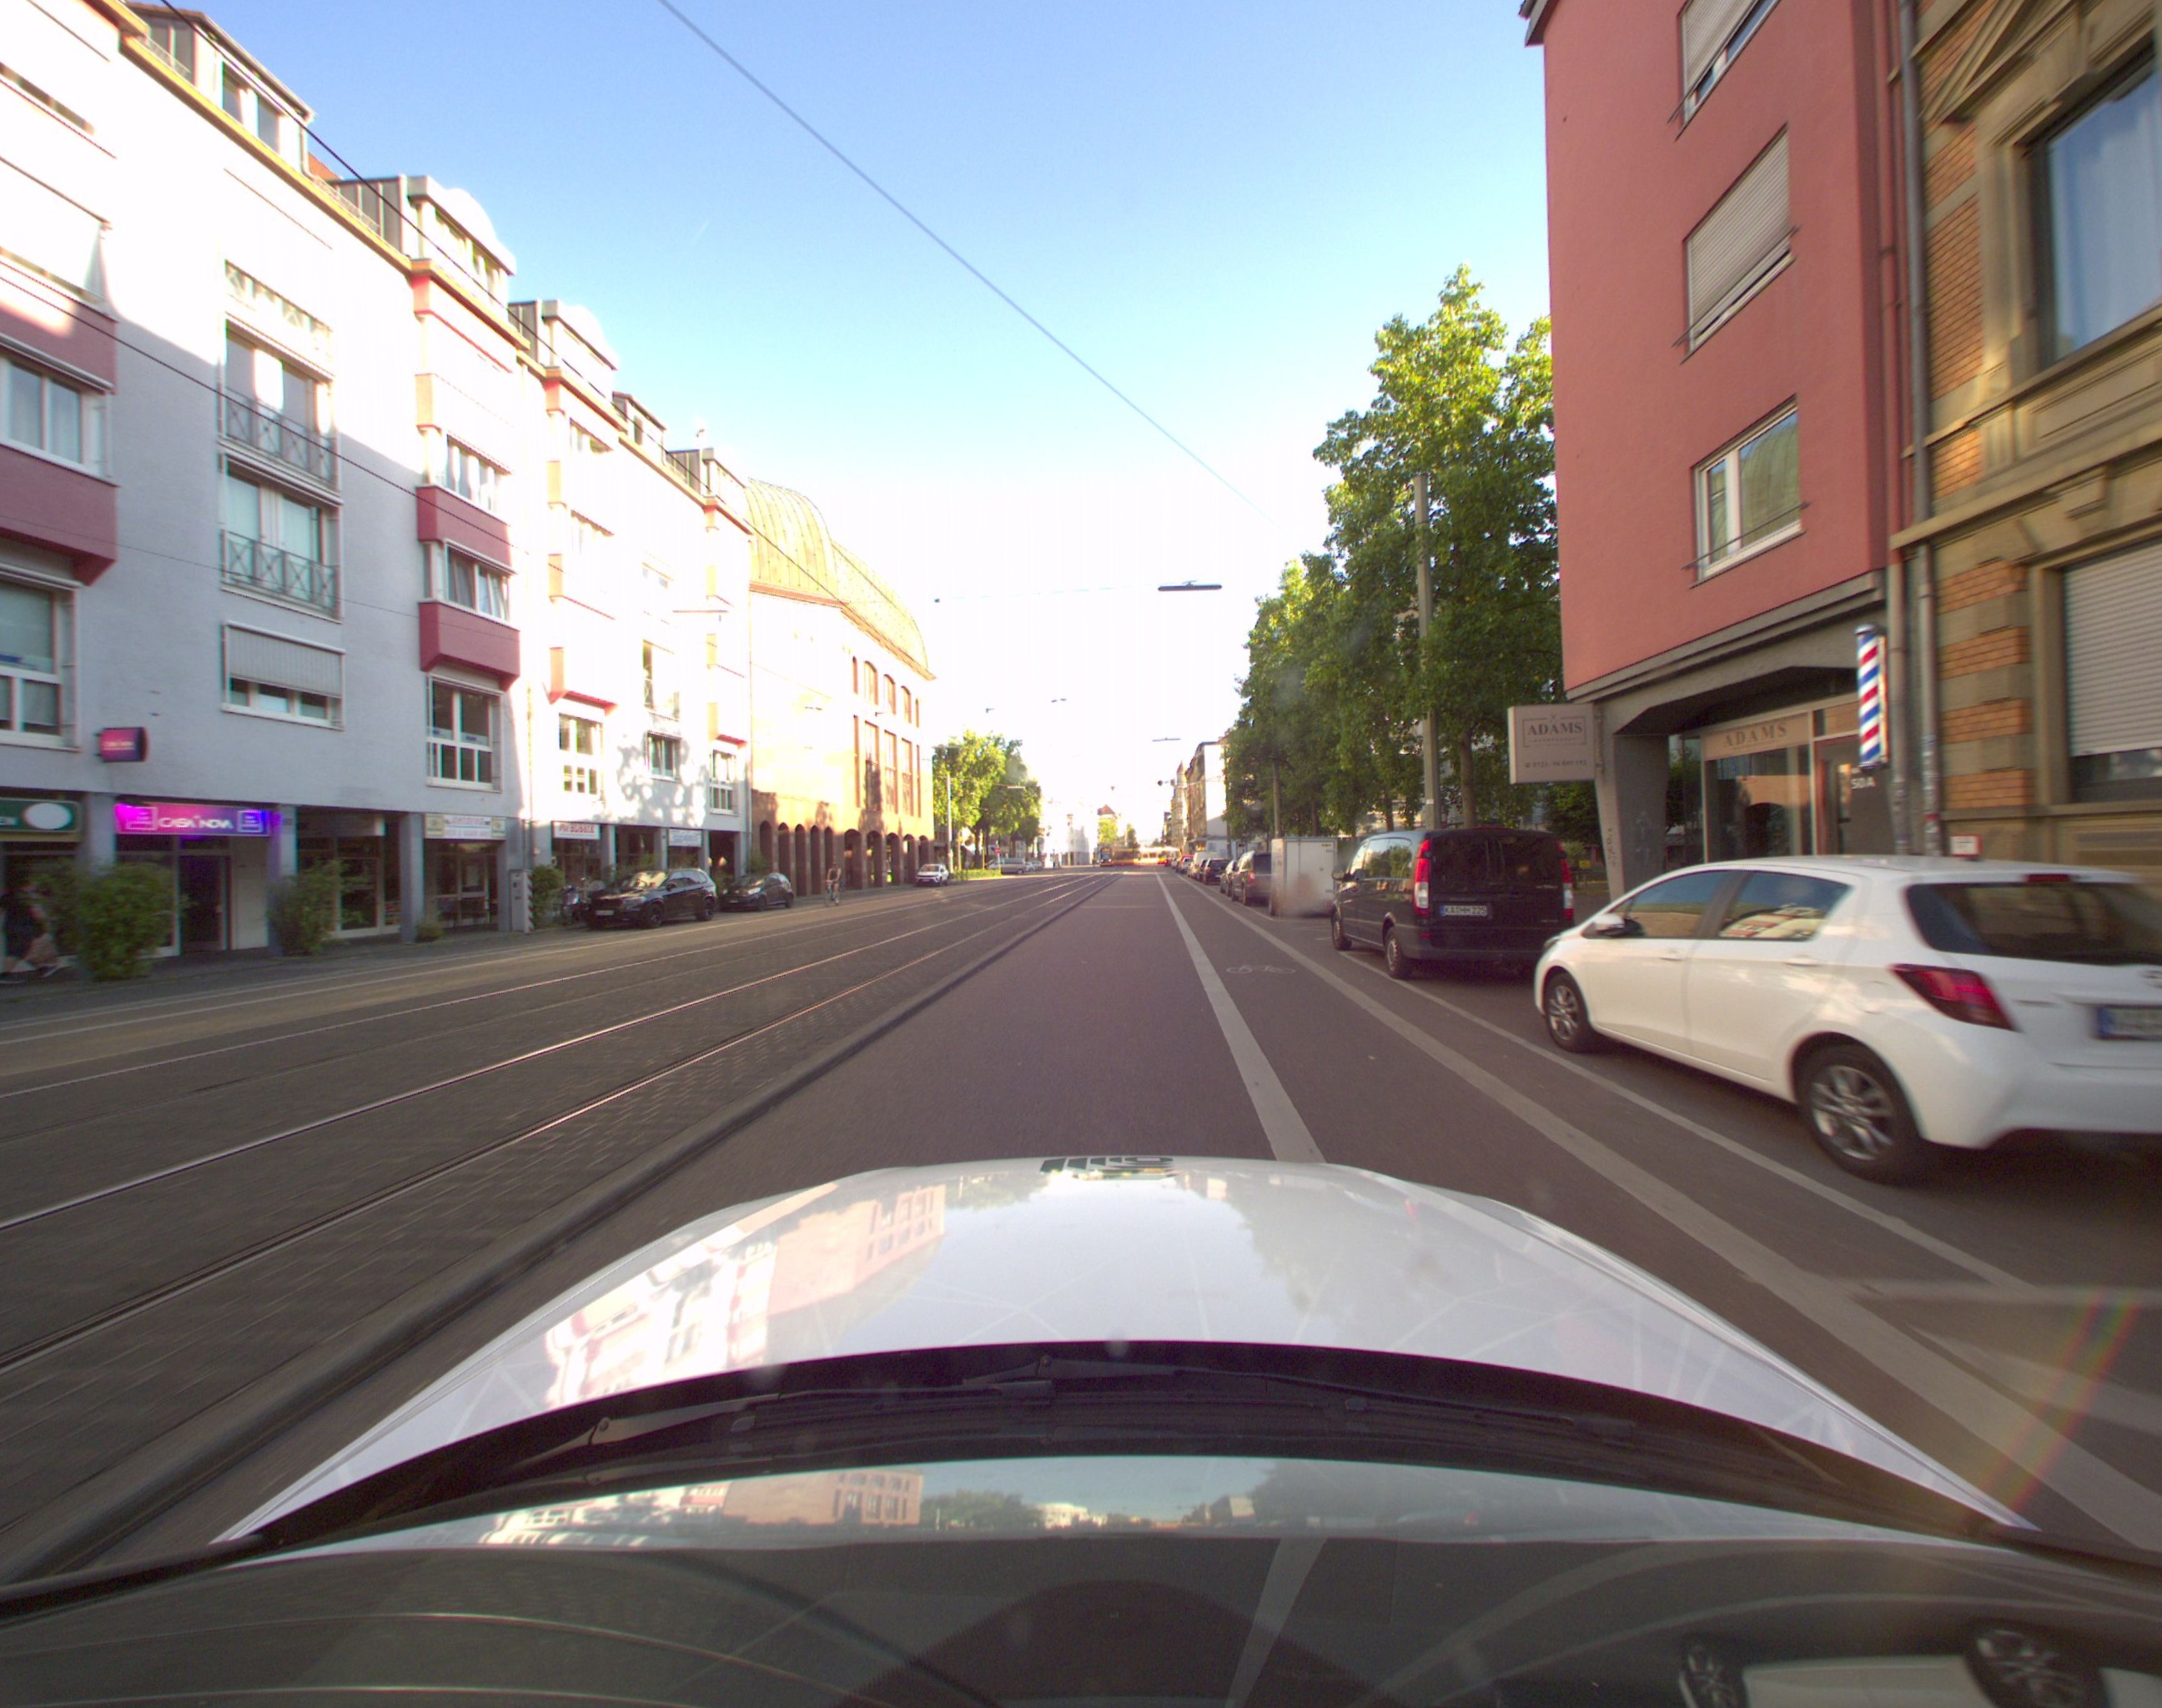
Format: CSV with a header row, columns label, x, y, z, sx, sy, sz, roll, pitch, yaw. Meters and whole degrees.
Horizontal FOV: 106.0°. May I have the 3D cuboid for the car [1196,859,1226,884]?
label,x,y,z,sx,sy,sz,roll,pitch,yaw
car,8.163,1.084,51.484,1.613,1.474,3.976,0,0,5

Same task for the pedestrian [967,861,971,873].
label,x,y,z,sx,sy,sz,roll,pitch,yaw
pedestrian,-12.936,1.519,93.716,0.363,1.343,0.480,2,-1,-15

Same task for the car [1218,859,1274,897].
label,x,y,z,sx,sy,sz,roll,pitch,yaw
car,6.804,0.949,33.968,1.708,1.427,4.681,0,1,4

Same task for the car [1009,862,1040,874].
label,x,y,z,sx,sy,sz,roll,pitch,yaw
car,-8.063,2.006,116.072,3.889,1.627,1.859,1,-1,-26

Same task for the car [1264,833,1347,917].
label,x,y,z,sx,sy,sz,roll,pitch,yaw
car,6.056,0.556,22.323,1.696,2.120,3.714,0,-1,8

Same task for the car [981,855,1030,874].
label,x,y,z,sx,sy,sz,roll,pitch,yaw
car,-9.002,1.257,96.797,5.281,2.043,2.397,2,-2,-28

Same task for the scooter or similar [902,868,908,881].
label,x,y,z,sx,sy,sz,roll,pitch,yaw
scooter or similar,-12.994,1.519,60.162,0.363,0.938,0.968,2,-1,-15

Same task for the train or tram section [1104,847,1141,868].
label,x,y,z,sx,sy,sz,roll,pitch,yaw
train or tram section,8.135,0.703,156.804,2.668,3.878,12.913,1,0,23

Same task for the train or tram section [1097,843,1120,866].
label,x,y,z,sx,sy,sz,roll,pitch,yaw
train or tram section,5.074,0.128,145.357,2.677,3.960,12.117,2,0,8

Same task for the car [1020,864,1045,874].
label,x,y,z,sx,sy,sz,roll,pitch,yaw
car,-7.458,2.391,126.439,3.539,1.481,1.568,1,-1,-28

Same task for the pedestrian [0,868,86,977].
label,x,y,z,sx,sy,sz,roll,pitch,yaw
pedestrian,-16.996,1.094,13.275,0.611,1.712,0.746,-1,0,3

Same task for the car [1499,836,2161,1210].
label,x,y,z,sx,sy,sz,roll,pitch,yaw
car,4.496,0.697,5.262,1.723,1.496,3.964,1,0,3

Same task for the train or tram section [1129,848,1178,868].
label,x,y,z,sx,sy,sz,roll,pitch,yaw
train or tram section,14.814,0.850,166.037,11.345,3.752,2.669,2,-1,-41

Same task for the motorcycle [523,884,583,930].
label,x,y,z,sx,sy,sz,roll,pitch,yaw
motorcycle,-14.874,1.464,23.019,0.670,1.205,2.132,1,-1,-12

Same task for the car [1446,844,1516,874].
label,x,y,z,sx,sy,sz,roll,pitch,yaw
car,22.010,0.240,45.018,1.857,1.494,4.441,-2,0,3

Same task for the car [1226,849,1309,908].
label,x,y,z,sx,sy,sz,roll,pitch,yaw
car,6.170,0.768,27.561,1.941,1.788,5.186,1,-1,4

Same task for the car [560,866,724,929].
label,x,y,z,sx,sy,sz,roll,pitch,yaw
car,-13.115,1.242,24.760,2.081,1.713,4.823,1,-1,4

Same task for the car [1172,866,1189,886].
label,x,y,z,sx,sy,sz,roll,pitch,yaw
car,10.513,2.273,86.489,1.613,2.006,3.835,1,0,4

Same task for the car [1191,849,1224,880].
label,x,y,z,sx,sy,sz,roll,pitch,yaw
car,8.854,0.730,57.336,1.961,2.014,4.565,-2,-1,6

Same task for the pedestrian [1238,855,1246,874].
label,x,y,z,sx,sy,sz,roll,pitch,yaw
pedestrian,15.242,0.995,77.320,0.658,1.722,0.836,-1,-1,5

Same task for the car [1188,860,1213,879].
label,x,y,z,sx,sy,sz,roll,pitch,yaw
car,9.298,1.199,63.580,1.613,1.370,3.935,1,0,4

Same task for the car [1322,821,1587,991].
label,x,y,z,sx,sy,sz,roll,pitch,yaw
car,4.900,0.590,11.603,1.945,1.869,4.997,1,0,6

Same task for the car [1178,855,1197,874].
label,x,y,z,sx,sy,sz,roll,pitch,yaw
car,10.741,1.063,82.103,1.613,1.813,4.088,1,0,4

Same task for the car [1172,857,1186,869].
label,x,y,z,sx,sy,sz,roll,pitch,yaw
car,13.065,1.210,108.962,1.613,1.555,4.088,1,0,4

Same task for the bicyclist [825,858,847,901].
label,x,y,z,sx,sy,sz,roll,pitch,yaw
bicyclist,-10.025,1.020,33.377,0.569,1.712,0.746,-3,-1,4

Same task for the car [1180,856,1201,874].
label,x,y,z,sx,sy,sz,roll,pitch,yaw
car,10.205,1.044,76.028,1.715,1.568,4.088,-2,-1,4

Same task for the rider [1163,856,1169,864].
label,x,y,z,sx,sy,sz,roll,pitch,yaw
rider,14.899,1.030,142.806,0.875,1.481,0.717,1,-1,34

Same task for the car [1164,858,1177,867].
label,x,y,z,sx,sy,sz,roll,pitch,yaw
car,14.833,1.430,135.498,2.056,1.389,4.230,2,0,5

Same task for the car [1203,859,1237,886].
label,x,y,z,sx,sy,sz,roll,pitch,yaw
car,7.810,1.009,46.105,1.613,1.431,3.990,0,0,5

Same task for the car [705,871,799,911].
label,x,y,z,sx,sy,sz,roll,pitch,yaw
car,-12.813,1.396,32.000,1.859,1.450,3.591,0,-1,7

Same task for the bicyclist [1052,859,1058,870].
label,x,y,z,sx,sy,sz,roll,pitch,yaw
bicyclist,-4.705,1.835,146.540,0.702,2.014,0.717,2,-1,-30

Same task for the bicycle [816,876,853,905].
label,x,y,z,sx,sy,sz,roll,pitch,yaw
bicycle,-10.019,1.455,33.184,0.579,1.077,2.189,-3,-1,5

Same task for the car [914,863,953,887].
label,x,y,z,sx,sy,sz,roll,pitch,yaw
car,-10.600,1.483,58.787,1.862,1.600,4.256,0,0,2

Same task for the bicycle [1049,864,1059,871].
label,x,y,z,sx,sy,sz,roll,pitch,yaw
bicycle,-4.865,2.420,146.778,0.703,1.239,2.006,2,-1,-32
